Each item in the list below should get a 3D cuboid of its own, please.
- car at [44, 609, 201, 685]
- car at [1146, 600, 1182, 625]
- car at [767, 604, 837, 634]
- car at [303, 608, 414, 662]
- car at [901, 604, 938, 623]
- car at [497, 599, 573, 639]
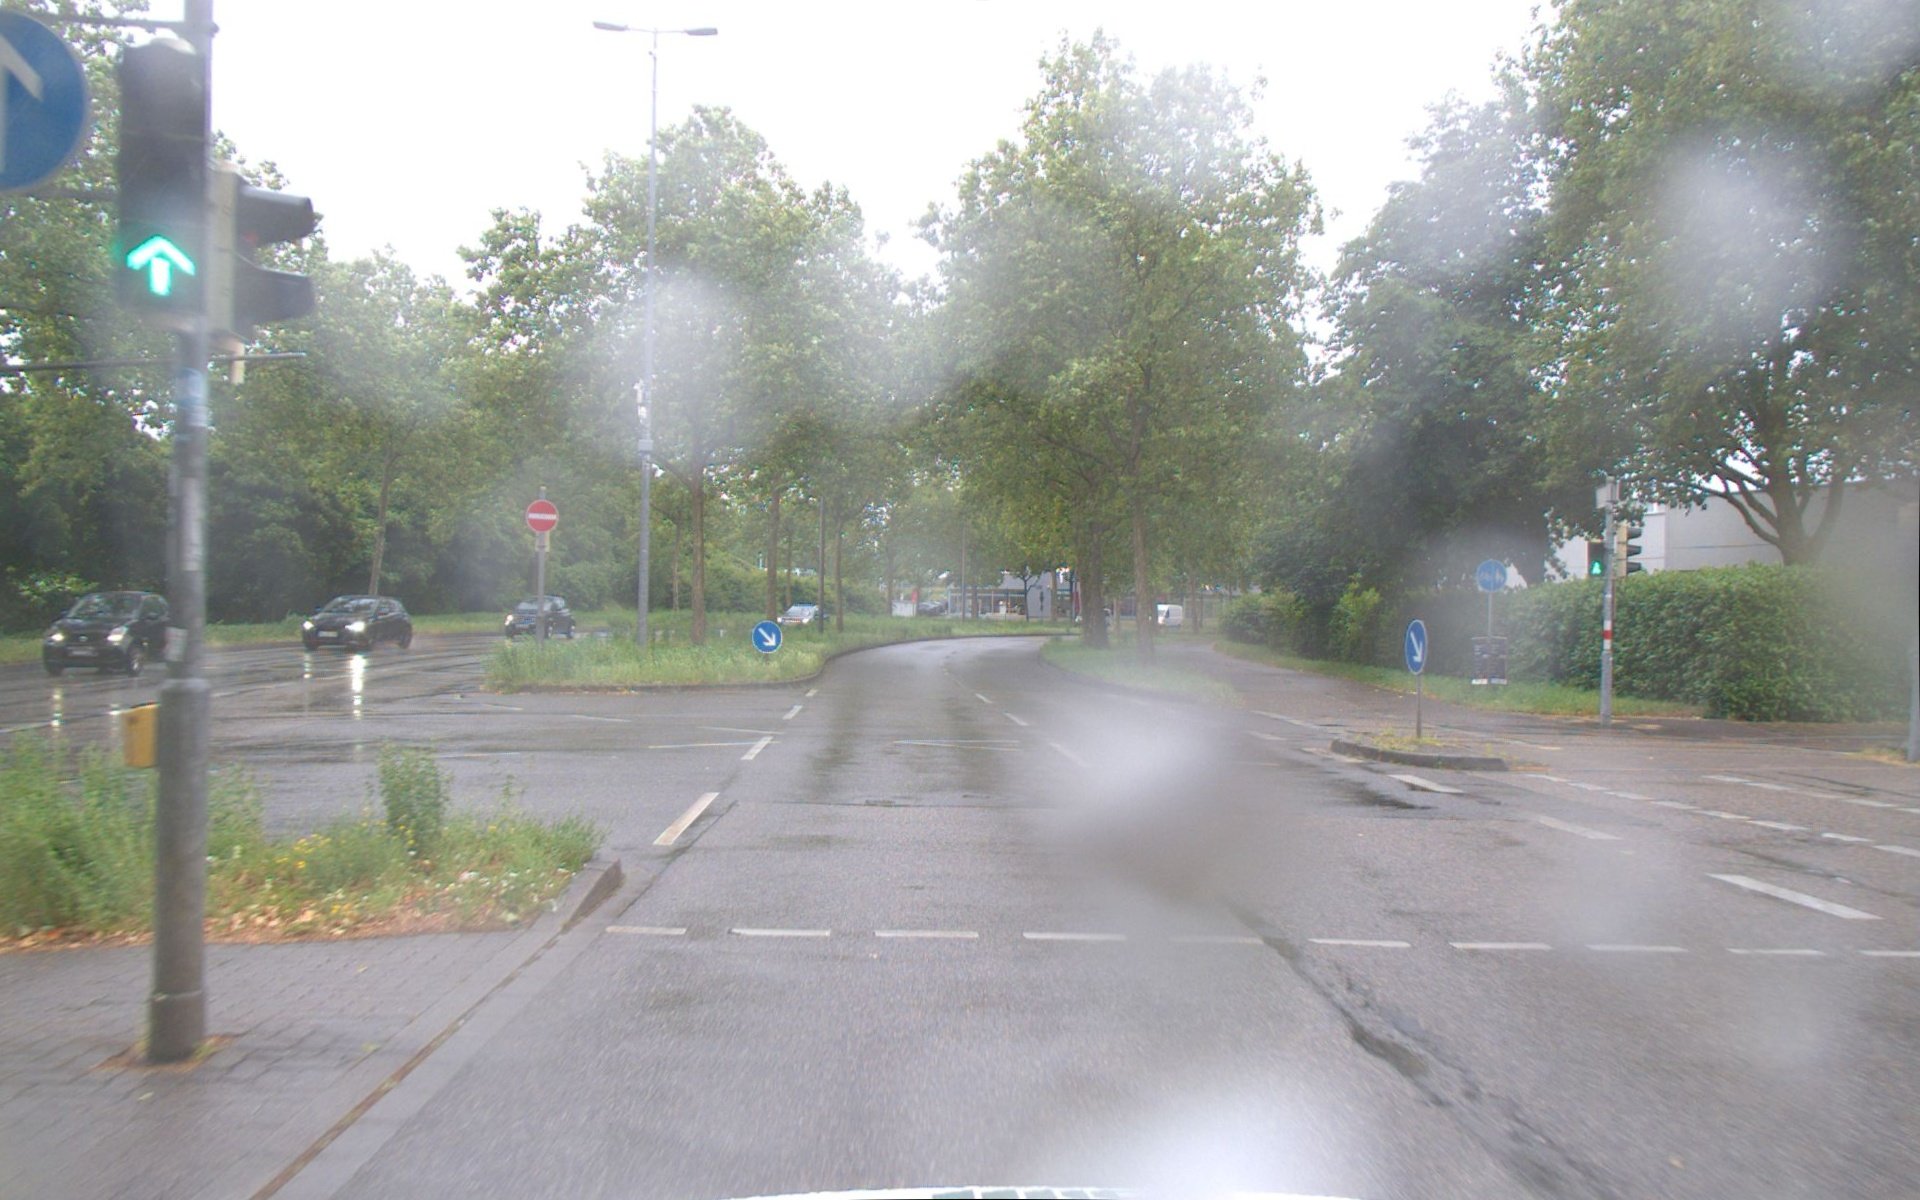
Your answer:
[{"bbox_3d":[-16.387,0.889,32.529,1.556,1.397,3.331,0,0,-4],"label":"car"},{"bbox_3d":[19.813,1.198,160.526,2.235,2.311,5.969,1,0,19],"label":"car"},{"bbox_3d":[-7.898,0.943,83.195,1.961,1.477,4.995,0,0,14],"label":"car"},{"bbox_3d":[-16.296,0.916,45.029,1.555,1.397,4.260,0,0,-2],"label":"car"},{"bbox_3d":[-4.563,1.517,184.799,3.914,2.049,1.995,1,-2,-10],"label":"car"},{"bbox_3d":[-15.356,0.691,59.991,1.554,1.397,4.262,0,0,1],"label":"car"}]
